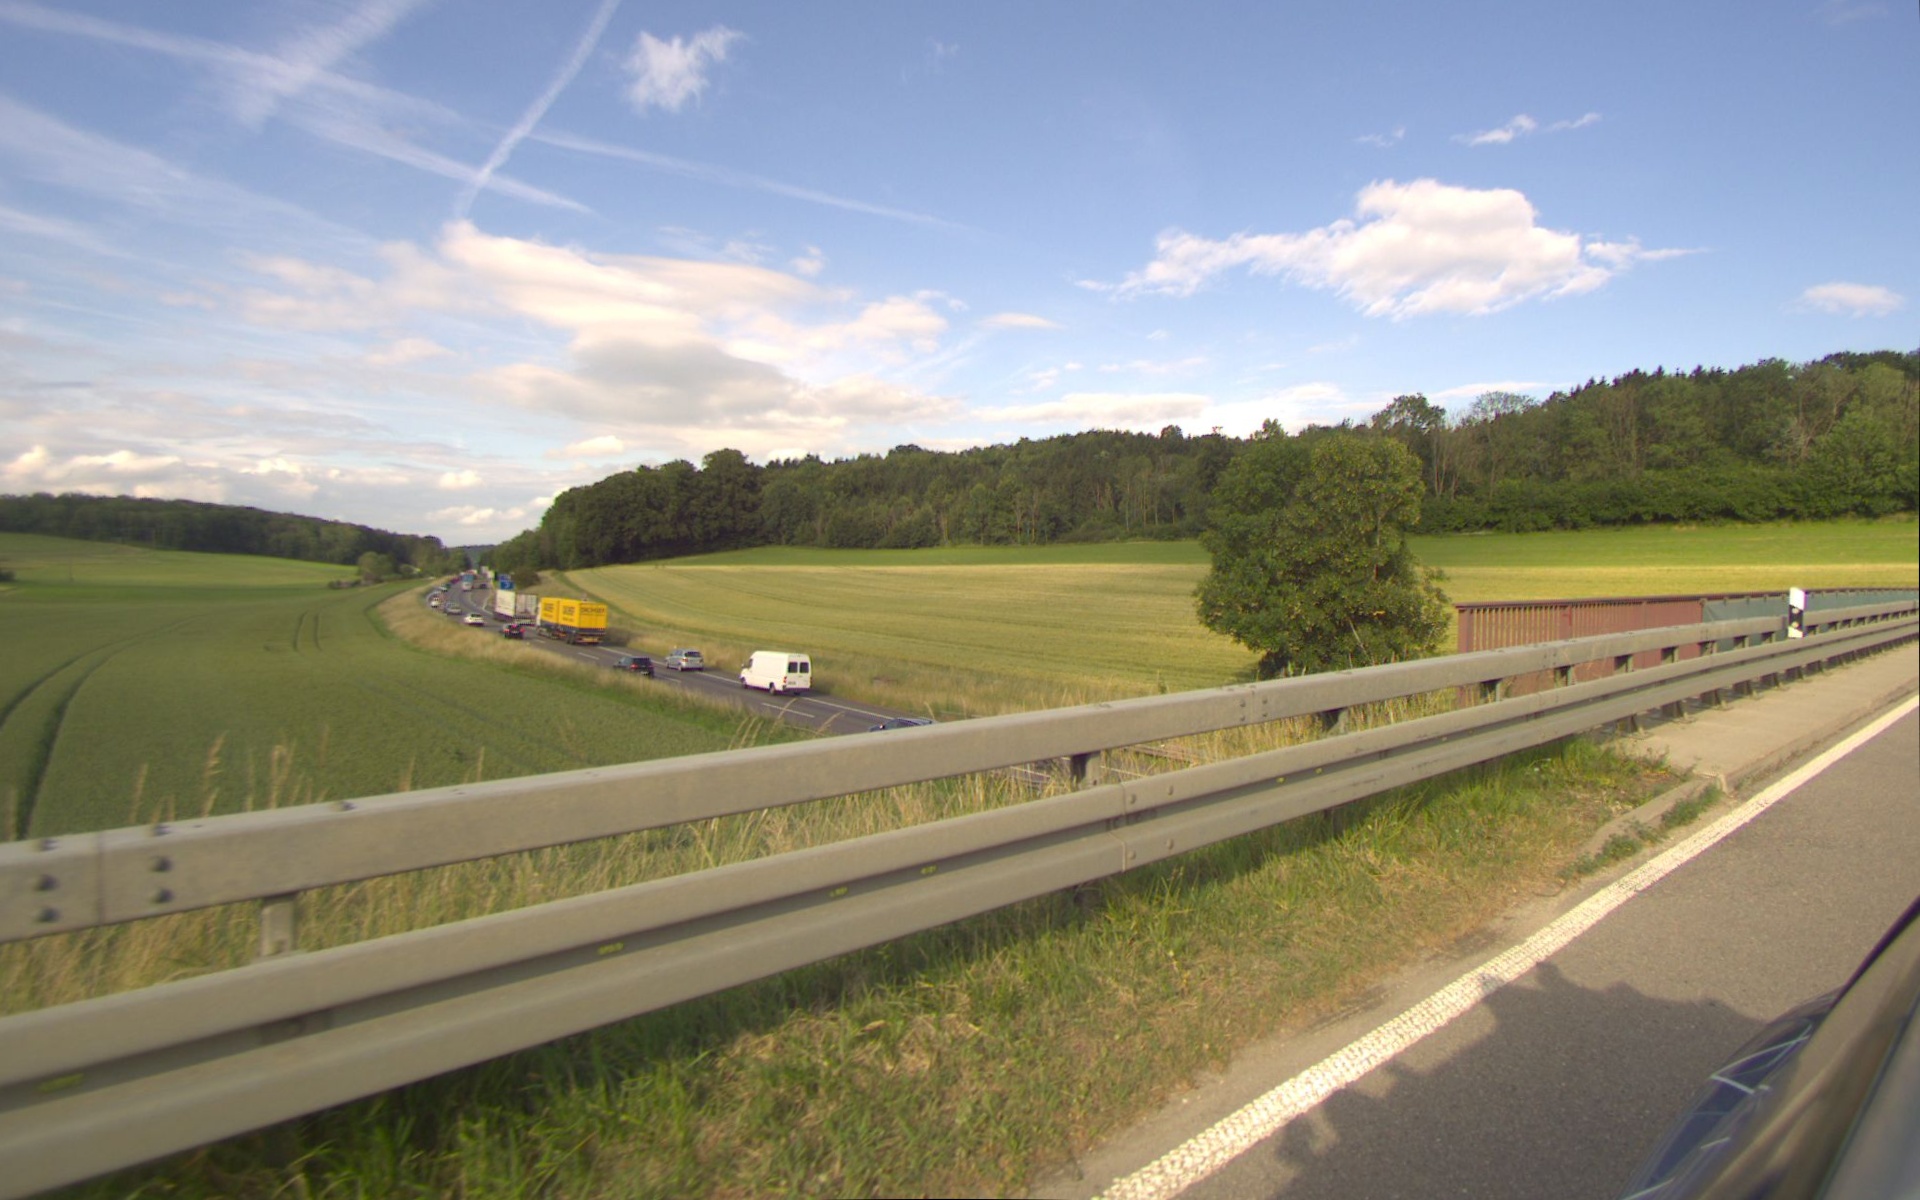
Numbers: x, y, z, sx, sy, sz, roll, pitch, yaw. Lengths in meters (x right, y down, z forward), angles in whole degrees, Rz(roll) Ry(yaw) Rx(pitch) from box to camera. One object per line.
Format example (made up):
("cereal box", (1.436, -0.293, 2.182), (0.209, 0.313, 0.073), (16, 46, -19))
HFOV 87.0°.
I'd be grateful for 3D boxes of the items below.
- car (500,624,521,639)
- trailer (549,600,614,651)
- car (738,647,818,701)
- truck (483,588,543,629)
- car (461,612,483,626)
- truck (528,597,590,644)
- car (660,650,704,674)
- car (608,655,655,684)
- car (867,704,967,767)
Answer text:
("car", (-43.474, 3.075, 97.864), (1.352, 1.283, 3.099), (0, 1, -35))
("trailer", (-35.961, 2.288, 95.881), (3.765, 4.109, 9.134), (-3, 3, -33))
("car", (-11.176, 4.460, 61.804), (2.328, 2.617, 6.125), (5, 0, -35))
("truck", (-56.302, 0.941, 127.279), (4.005, 4.043, 14.429), (-5, 5, -35))
("car", (-55.878, 2.196, 115.885), (1.579, 1.412, 3.325), (0, 1, -38))
("truck", (-41.151, 2.031, 103.717), (3.765, 4.109, 9.806), (-3, 3, -34))
("car", (-20.523, 4.526, 74.627), (1.770, 1.487, 3.999), (2, 0, -37))
("car", (-21.605, 4.542, 66.473), (1.652, 1.538, 3.997), (0, 1, -38))
("car", (-1.802, 5.399, 40.836), (1.747, 1.722, 4.369), (-3, 4, -40))
